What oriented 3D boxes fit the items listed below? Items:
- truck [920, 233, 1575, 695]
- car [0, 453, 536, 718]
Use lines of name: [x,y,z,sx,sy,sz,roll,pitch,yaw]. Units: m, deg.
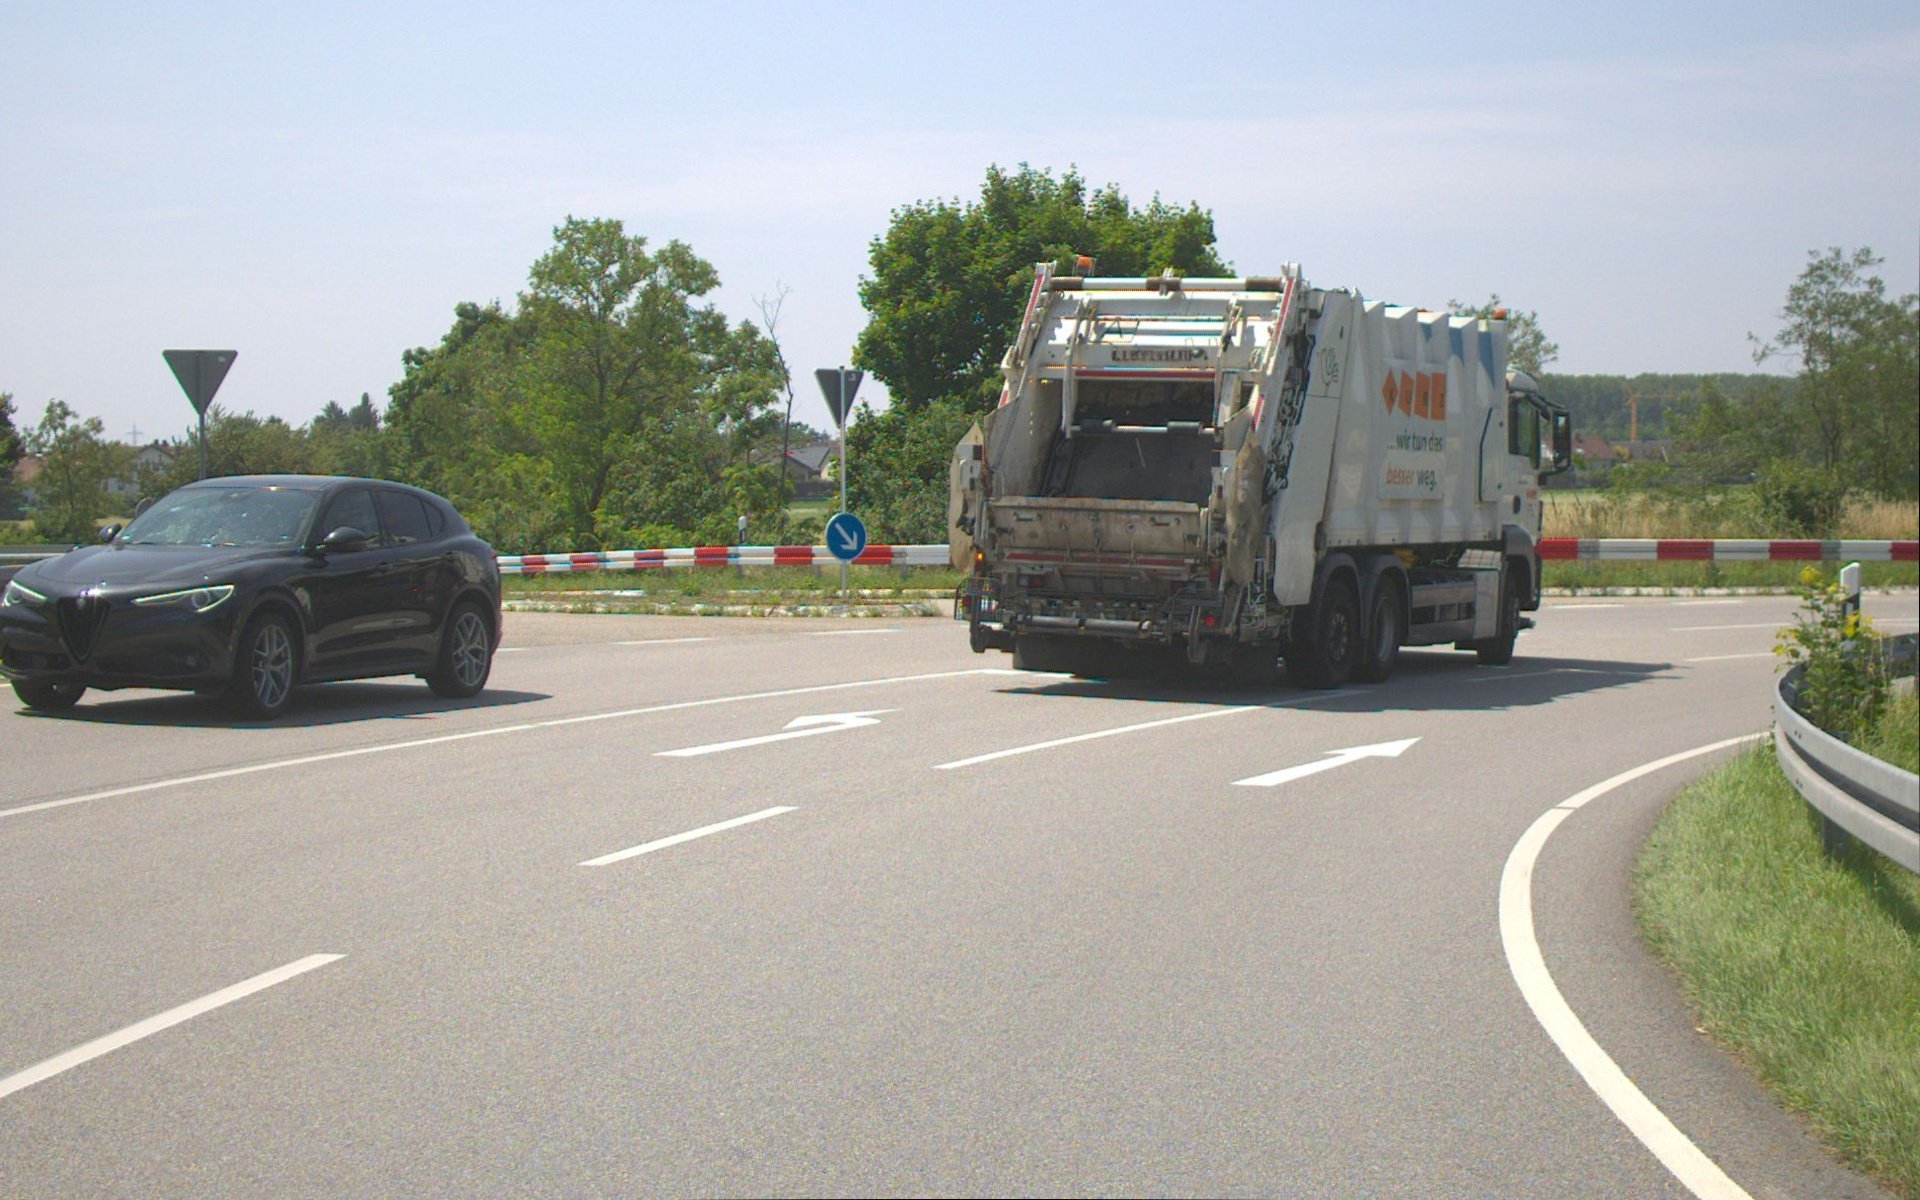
truck: [3.070,-1.165,32.310,2.817,3.656,9.935,2,1,25]
car: [-4.882,-0.159,24.552,1.713,1.652,4.563,3,2,21]
